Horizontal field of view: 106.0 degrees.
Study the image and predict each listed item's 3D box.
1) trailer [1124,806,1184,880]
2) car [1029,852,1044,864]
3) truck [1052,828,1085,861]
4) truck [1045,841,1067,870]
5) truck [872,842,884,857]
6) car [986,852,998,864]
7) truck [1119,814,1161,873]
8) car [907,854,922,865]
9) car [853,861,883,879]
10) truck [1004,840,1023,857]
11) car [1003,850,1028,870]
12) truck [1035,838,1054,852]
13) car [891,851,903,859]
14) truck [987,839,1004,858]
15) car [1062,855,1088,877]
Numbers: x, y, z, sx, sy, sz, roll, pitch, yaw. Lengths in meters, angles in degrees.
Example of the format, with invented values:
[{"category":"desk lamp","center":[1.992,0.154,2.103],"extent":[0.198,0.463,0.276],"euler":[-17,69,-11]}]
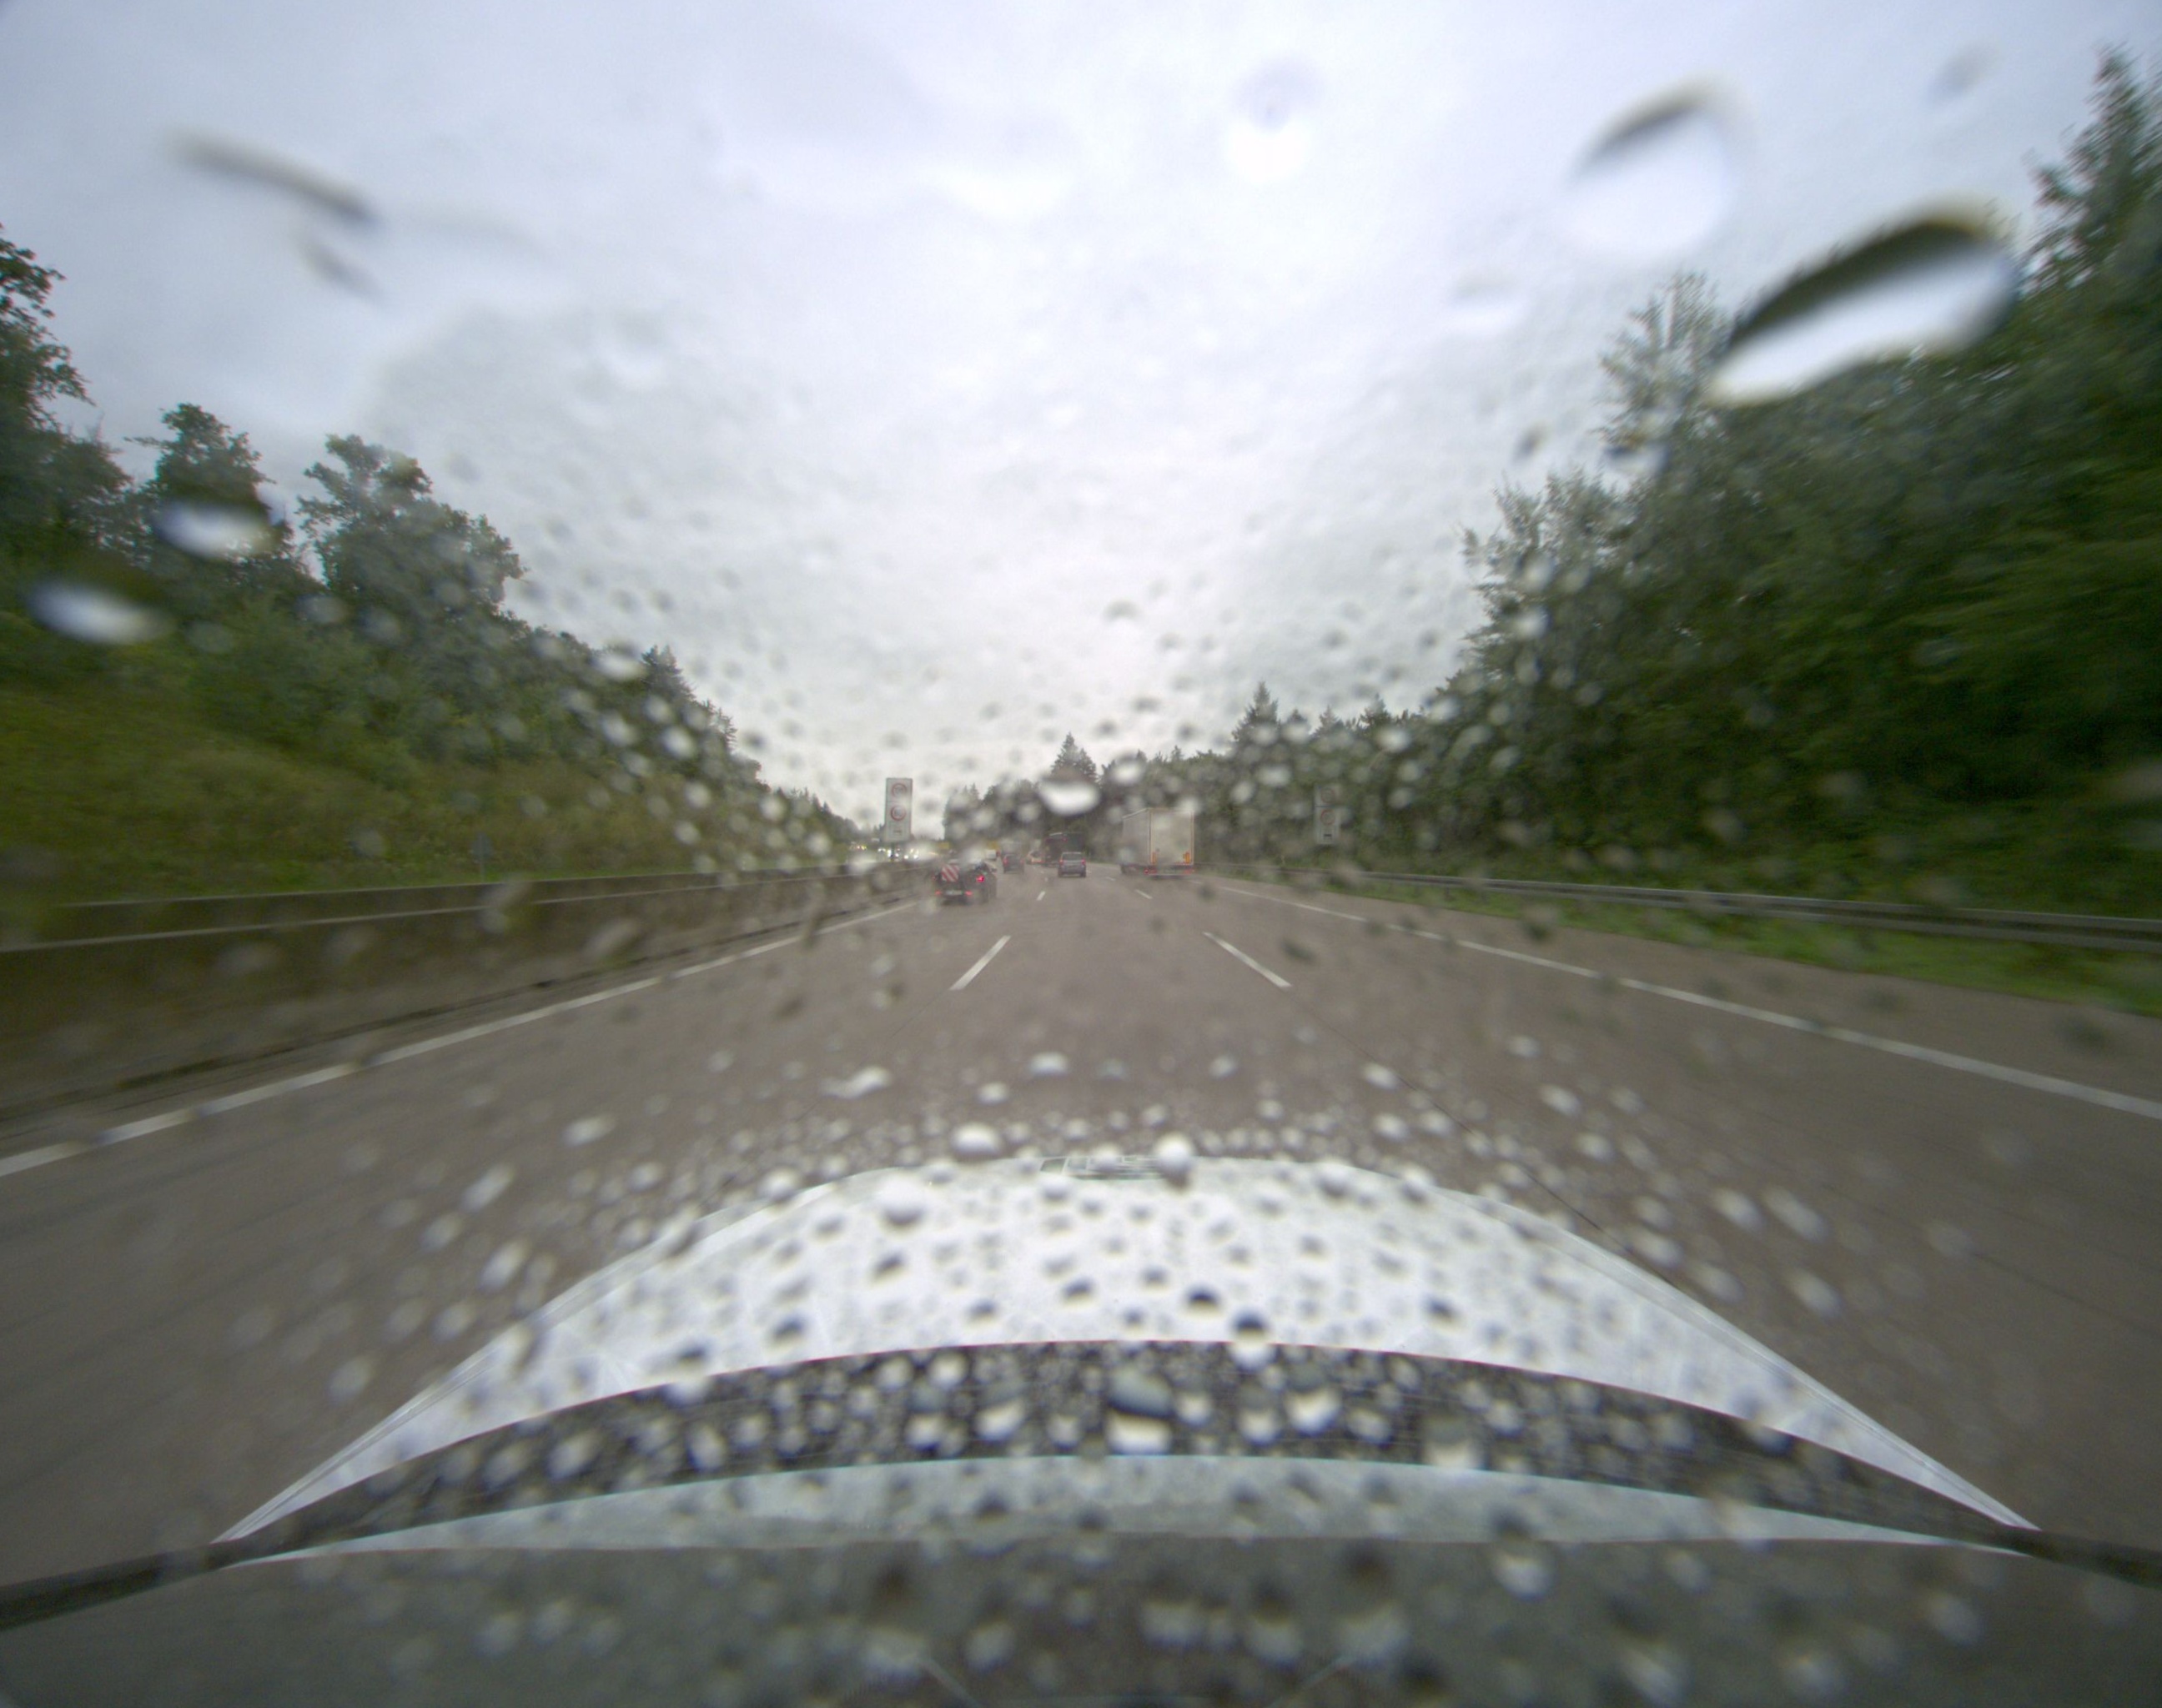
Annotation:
[{"category":"trailer","center":[4.365,-0.623,51.072],"extent":[2.413,4.068,12.047],"euler":[-1,0,-1]},{"category":"car","center":[-5.640,0.468,103.787],"extent":[1.877,1.473,3.996],"euler":[1,0,-3]},{"category":"truck","center":[-1.768,-1.208,108.072],"extent":[3.365,4.131,10.415],"euler":[-1,0,-6]},{"category":"truck","center":[-2.765,0.093,88.565],"extent":[2.264,2.886,7.895],"euler":[0,1,-3]},{"category":"truck","center":[-58.859,-1.396,236.287],"extent":[2.746,4.284,8.284],"euler":[-1,0,-11]},{"category":"car","center":[-14.525,0.664,132.495],"extent":[1.722,2.014,3.651],"euler":[-1,-1,-4]},{"category":"truck","center":[4.169,-0.746,58.336],"extent":[2.413,4.068,4.975],"euler":[-1,0,-2]},{"category":"car","center":[-26.257,0.901,128.673],"extent":[1.773,1.638,3.994],"euler":[-1,0,-4]},{"category":"car","center":[-19.263,1.396,73.709],"extent":[1.772,1.518,3.996],"euler":[-1,0,-2]},{"category":"truck","center":[-11.707,-0.970,141.306],"extent":[3.079,2.905,7.885],"euler":[-1,1,-7]},{"category":"car","center":[-5.110,0.460,63.630],"extent":[1.679,1.462,3.681],"euler":[1,0,-2]},{"category":"truck","center":[-6.378,-1.568,140.895],"extent":[2.970,2.309,6.654],"euler":[1,0,-6]},{"category":"car","center":[-36.546,0.201,161.680],"extent":[1.774,1.638,4.246],"euler":[-1,0,-5]},{"category":"truck","center":[-20.875,-1.310,198.271],"extent":[3.739,4.210,6.795],"euler":[-1,-1,-9]},{"category":"car","center":[-0.368,0.748,52.488],"extent":[1.548,1.351,3.685],"euler":[1,0,1]}]
